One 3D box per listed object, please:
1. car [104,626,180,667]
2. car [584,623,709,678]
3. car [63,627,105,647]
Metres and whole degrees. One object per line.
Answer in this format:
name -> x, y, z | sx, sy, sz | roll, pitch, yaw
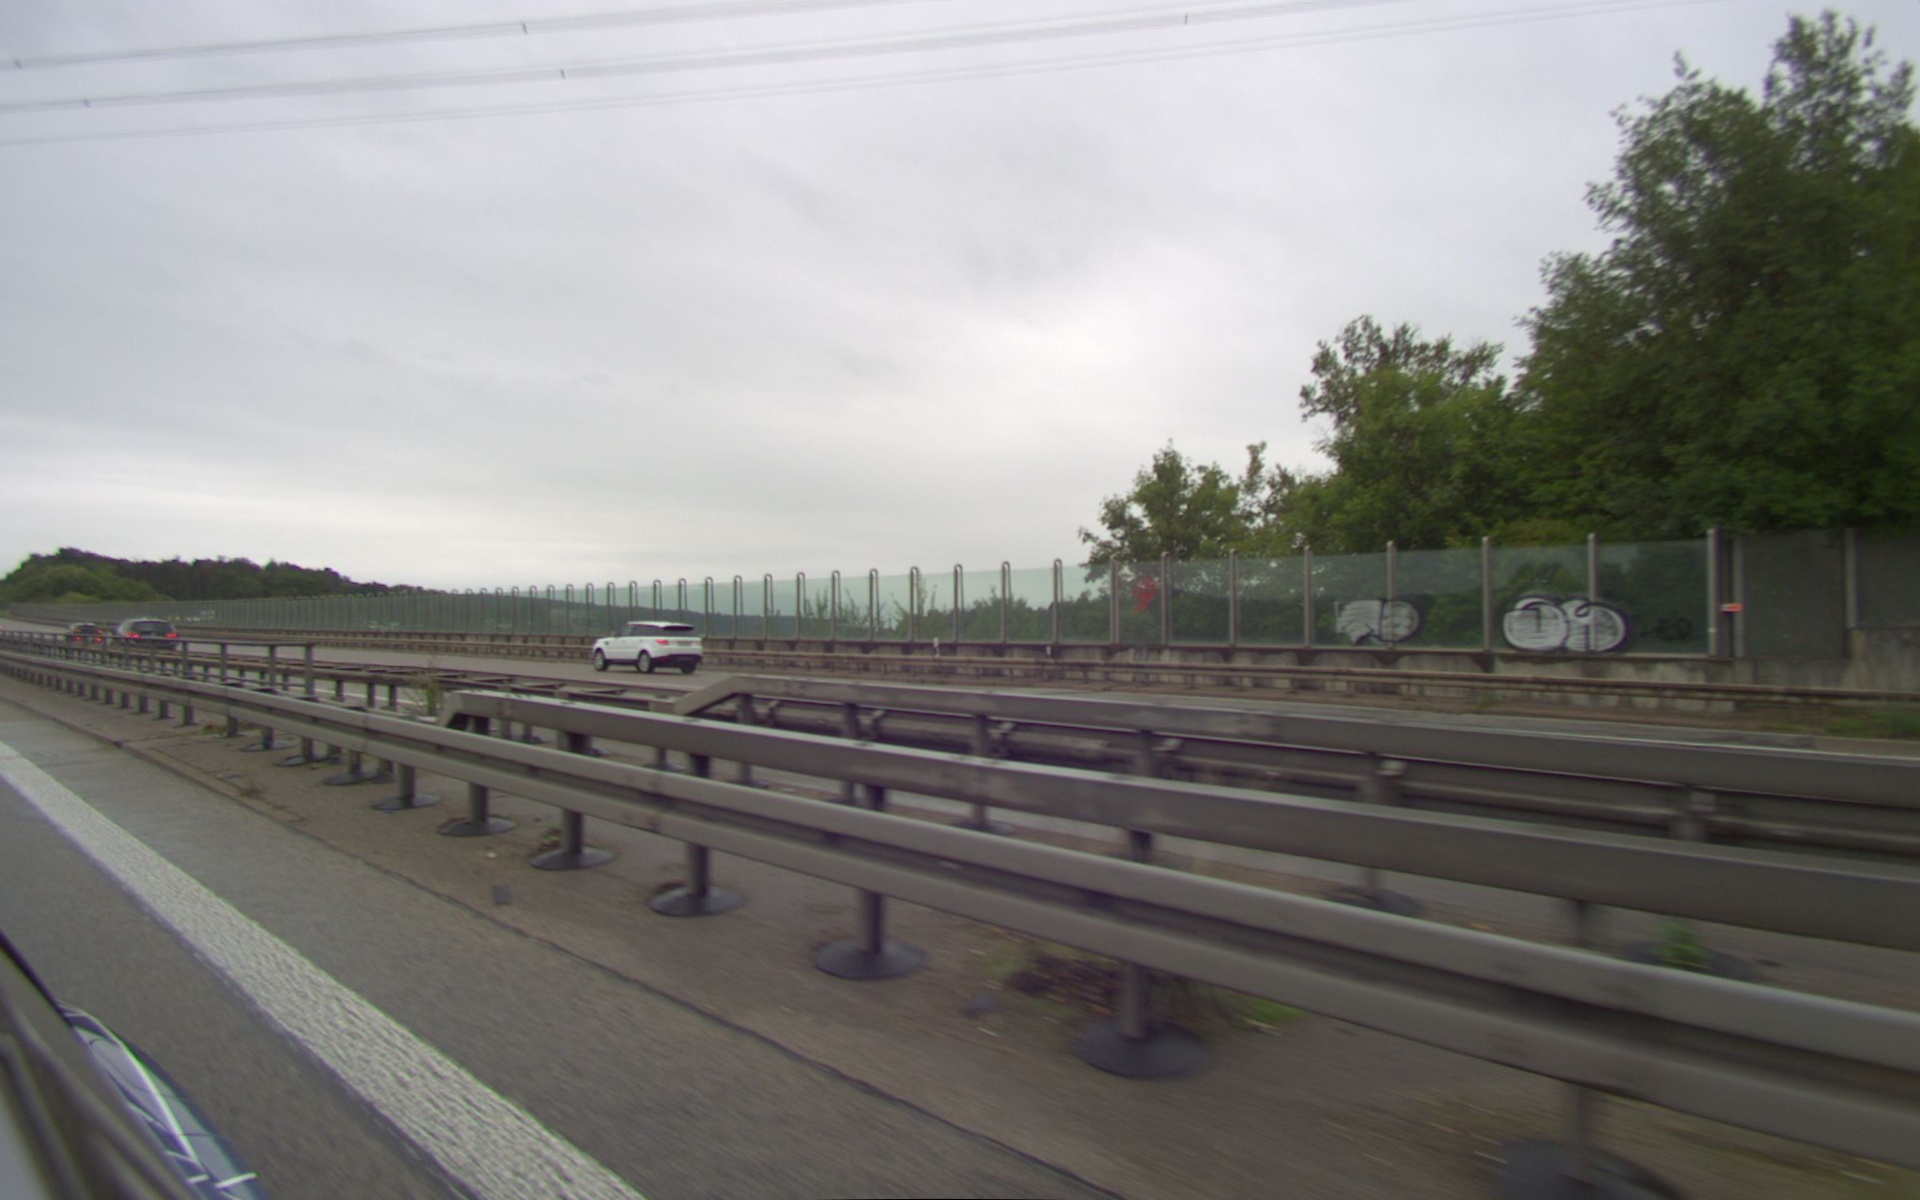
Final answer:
car -> -33.962, 1.902, 41.993 | 3.813, 1.606, 1.809 | -2, -2, 41
car -> -11.188, 1.752, 35.944 | 4.913, 1.833, 1.929 | -2, -2, 40
car -> -64.893, 2.718, 74.969 | 4.087, 1.448, 1.796 | -1, -3, 42
